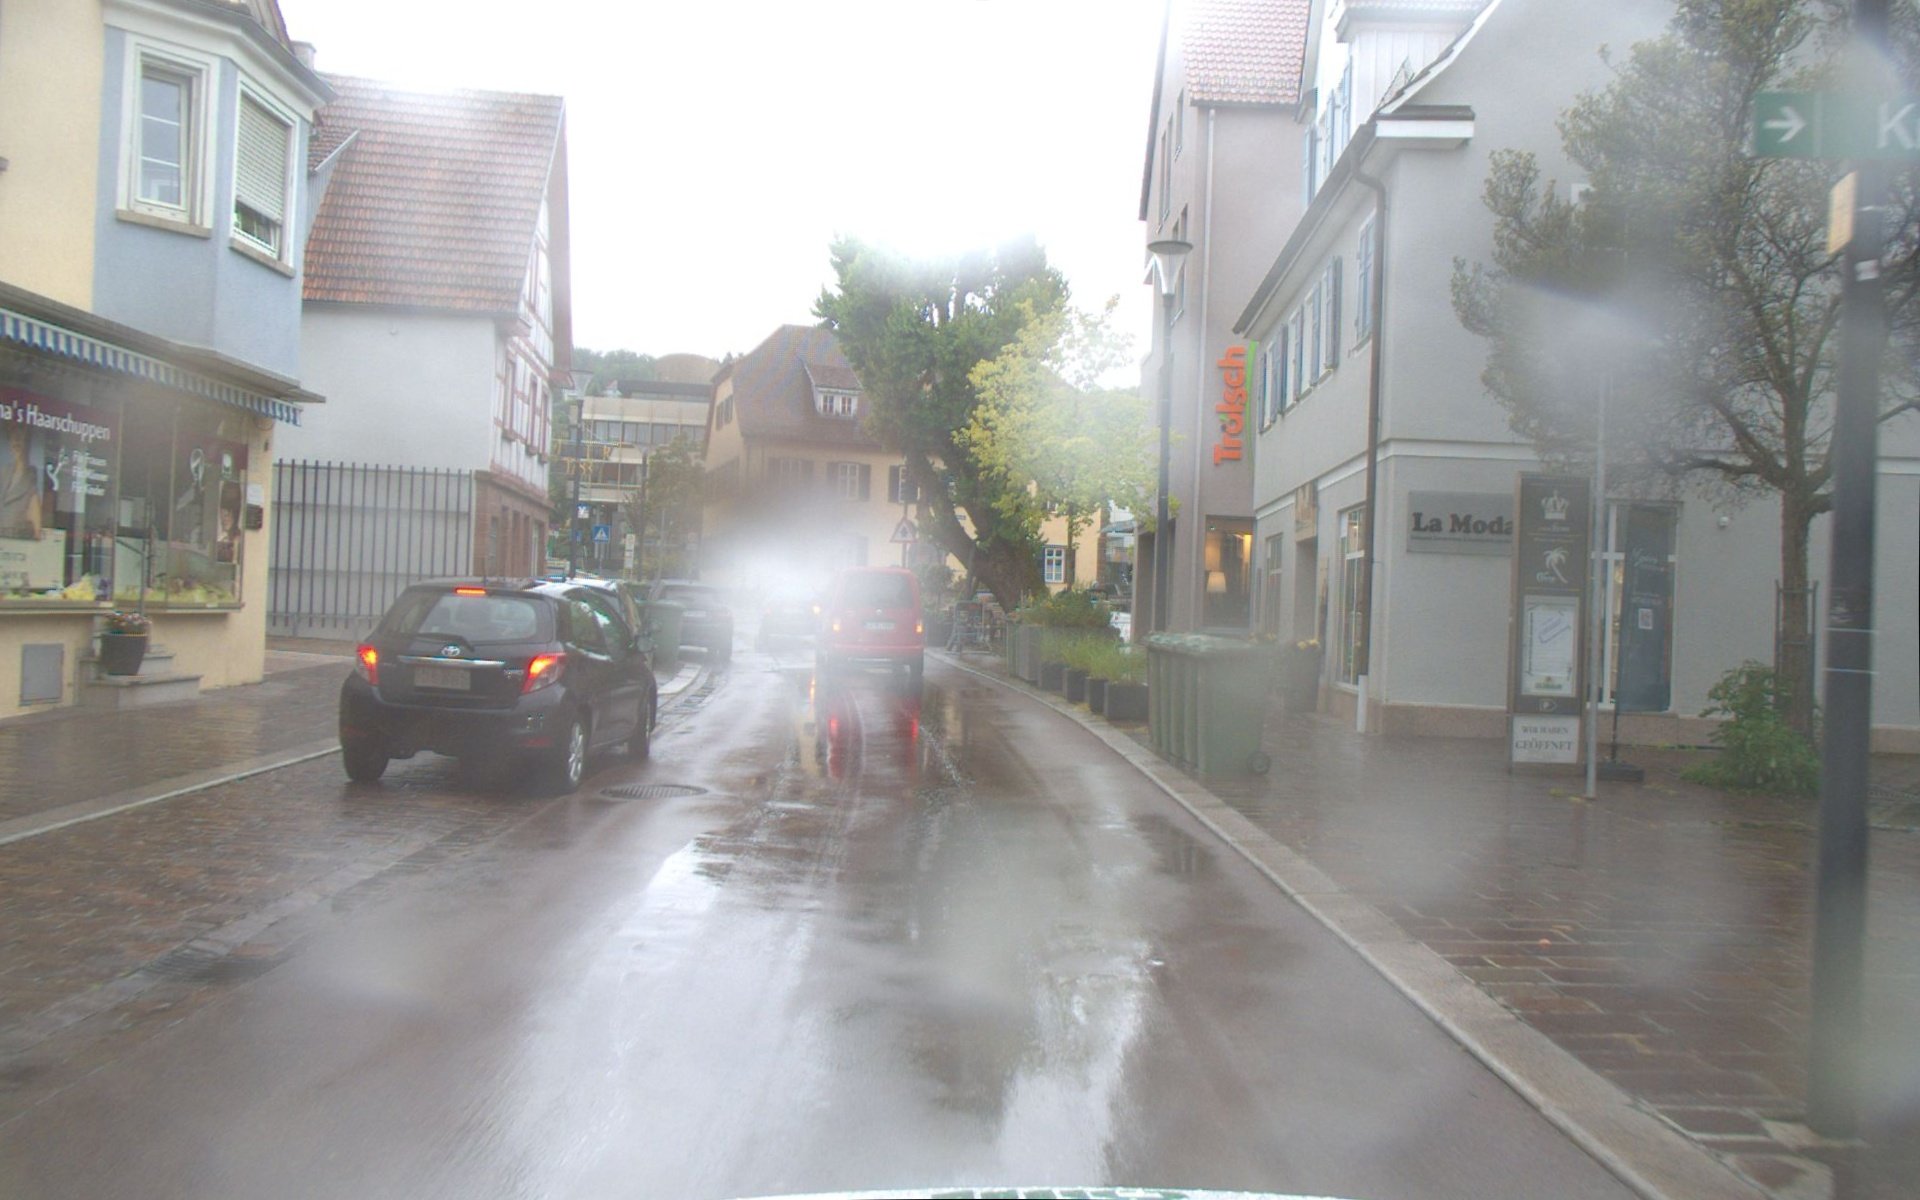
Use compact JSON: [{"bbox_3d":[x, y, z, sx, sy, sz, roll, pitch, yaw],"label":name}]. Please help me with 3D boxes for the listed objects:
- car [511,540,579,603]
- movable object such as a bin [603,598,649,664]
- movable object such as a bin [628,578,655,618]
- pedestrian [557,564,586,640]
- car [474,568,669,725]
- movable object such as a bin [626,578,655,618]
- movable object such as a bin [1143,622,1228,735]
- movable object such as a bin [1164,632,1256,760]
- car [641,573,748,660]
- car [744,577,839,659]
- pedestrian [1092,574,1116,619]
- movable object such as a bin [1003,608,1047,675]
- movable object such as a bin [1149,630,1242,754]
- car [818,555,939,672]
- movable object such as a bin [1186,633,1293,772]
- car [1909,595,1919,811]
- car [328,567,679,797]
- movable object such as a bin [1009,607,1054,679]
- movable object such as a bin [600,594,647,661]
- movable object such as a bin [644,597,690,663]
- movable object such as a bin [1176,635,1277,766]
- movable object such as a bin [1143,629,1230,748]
[{"bbox_3d":[-19.428,-1.267,77.207,2.266,2.647,6.916,4,-1,-20],"label":"car"},{"bbox_3d":[-6.025,0.559,29.841,0.712,1.129,0.595,3,-1,-9],"label":"movable object such as a bin"},{"bbox_3d":[-9.362,-0.065,48.648,0.701,1.125,0.598,3,-1,-11],"label":"movable object such as a bin"},{"bbox_3d":[-9.156,0.046,39.020,0.508,1.741,0.577,3,-1,-8],"label":"pedestrian"},{"bbox_3d":[-4.346,0.449,19.030,1.723,1.499,3.937,3,1,-8],"label":"car"},{"bbox_3d":[-9.534,-0.062,49.358,0.780,1.125,0.720,3,-1,-11],"label":"movable object such as a bin"},{"bbox_3d":[2.298,0.794,16.914,0.738,1.109,0.656,1,0,-4],"label":"movable object such as a bin"},{"bbox_3d":[2.274,0.867,15.081,0.714,1.110,0.521,3,-1,0],"label":"movable object such as a bin"},{"bbox_3d":[-5.450,0.287,33.569,1.757,1.521,3.986,4,1,-14],"label":"car"},{"bbox_3d":[-4.225,0.440,41.021,1.957,1.831,3.990,3,-1,-10],"label":"car"},{"bbox_3d":[6.310,-0.145,72.450,0.880,1.874,0.766,3,-1,-2],"label":"pedestrian"},{"bbox_3d":[1.124,0.719,28.730,0.620,1.123,0.578,3,-1,-8],"label":"movable object such as a bin"},{"bbox_3d":[2.229,0.863,15.689,0.721,1.117,0.610,3,-1,-3],"label":"movable object such as a bin"},{"bbox_3d":[-1.541,0.185,29.874,1.858,1.842,3.996,4,1,-6],"label":"car"},{"bbox_3d":[2.336,0.845,13.869,0.752,1.098,0.599,3,-1,0],"label":"movable object such as a bin"},{"bbox_3d":[9.225,0.829,13.760,1.851,1.627,4.375,2,1,36],"label":"car"},{"bbox_3d":[-3.445,0.523,13.223,1.657,1.468,3.885,3,1,0],"label":"car"},{"bbox_3d":[1.209,0.730,28.143,0.620,1.170,0.578,3,-1,-8],"label":"movable object such as a bin"},{"bbox_3d":[-5.939,0.478,29.191,0.712,1.129,0.595,3,-1,-9],"label":"movable object such as a bin"},{"bbox_3d":[-5.199,0.530,29.382,0.712,1.129,0.595,3,-1,-9],"label":"movable object such as a bin"},{"bbox_3d":[2.332,0.867,14.500,0.739,1.082,0.600,3,-1,0],"label":"movable object such as a bin"},{"bbox_3d":[2.221,0.860,16.293,0.720,1.117,0.611,3,-1,-1],"label":"movable object such as a bin"}]
